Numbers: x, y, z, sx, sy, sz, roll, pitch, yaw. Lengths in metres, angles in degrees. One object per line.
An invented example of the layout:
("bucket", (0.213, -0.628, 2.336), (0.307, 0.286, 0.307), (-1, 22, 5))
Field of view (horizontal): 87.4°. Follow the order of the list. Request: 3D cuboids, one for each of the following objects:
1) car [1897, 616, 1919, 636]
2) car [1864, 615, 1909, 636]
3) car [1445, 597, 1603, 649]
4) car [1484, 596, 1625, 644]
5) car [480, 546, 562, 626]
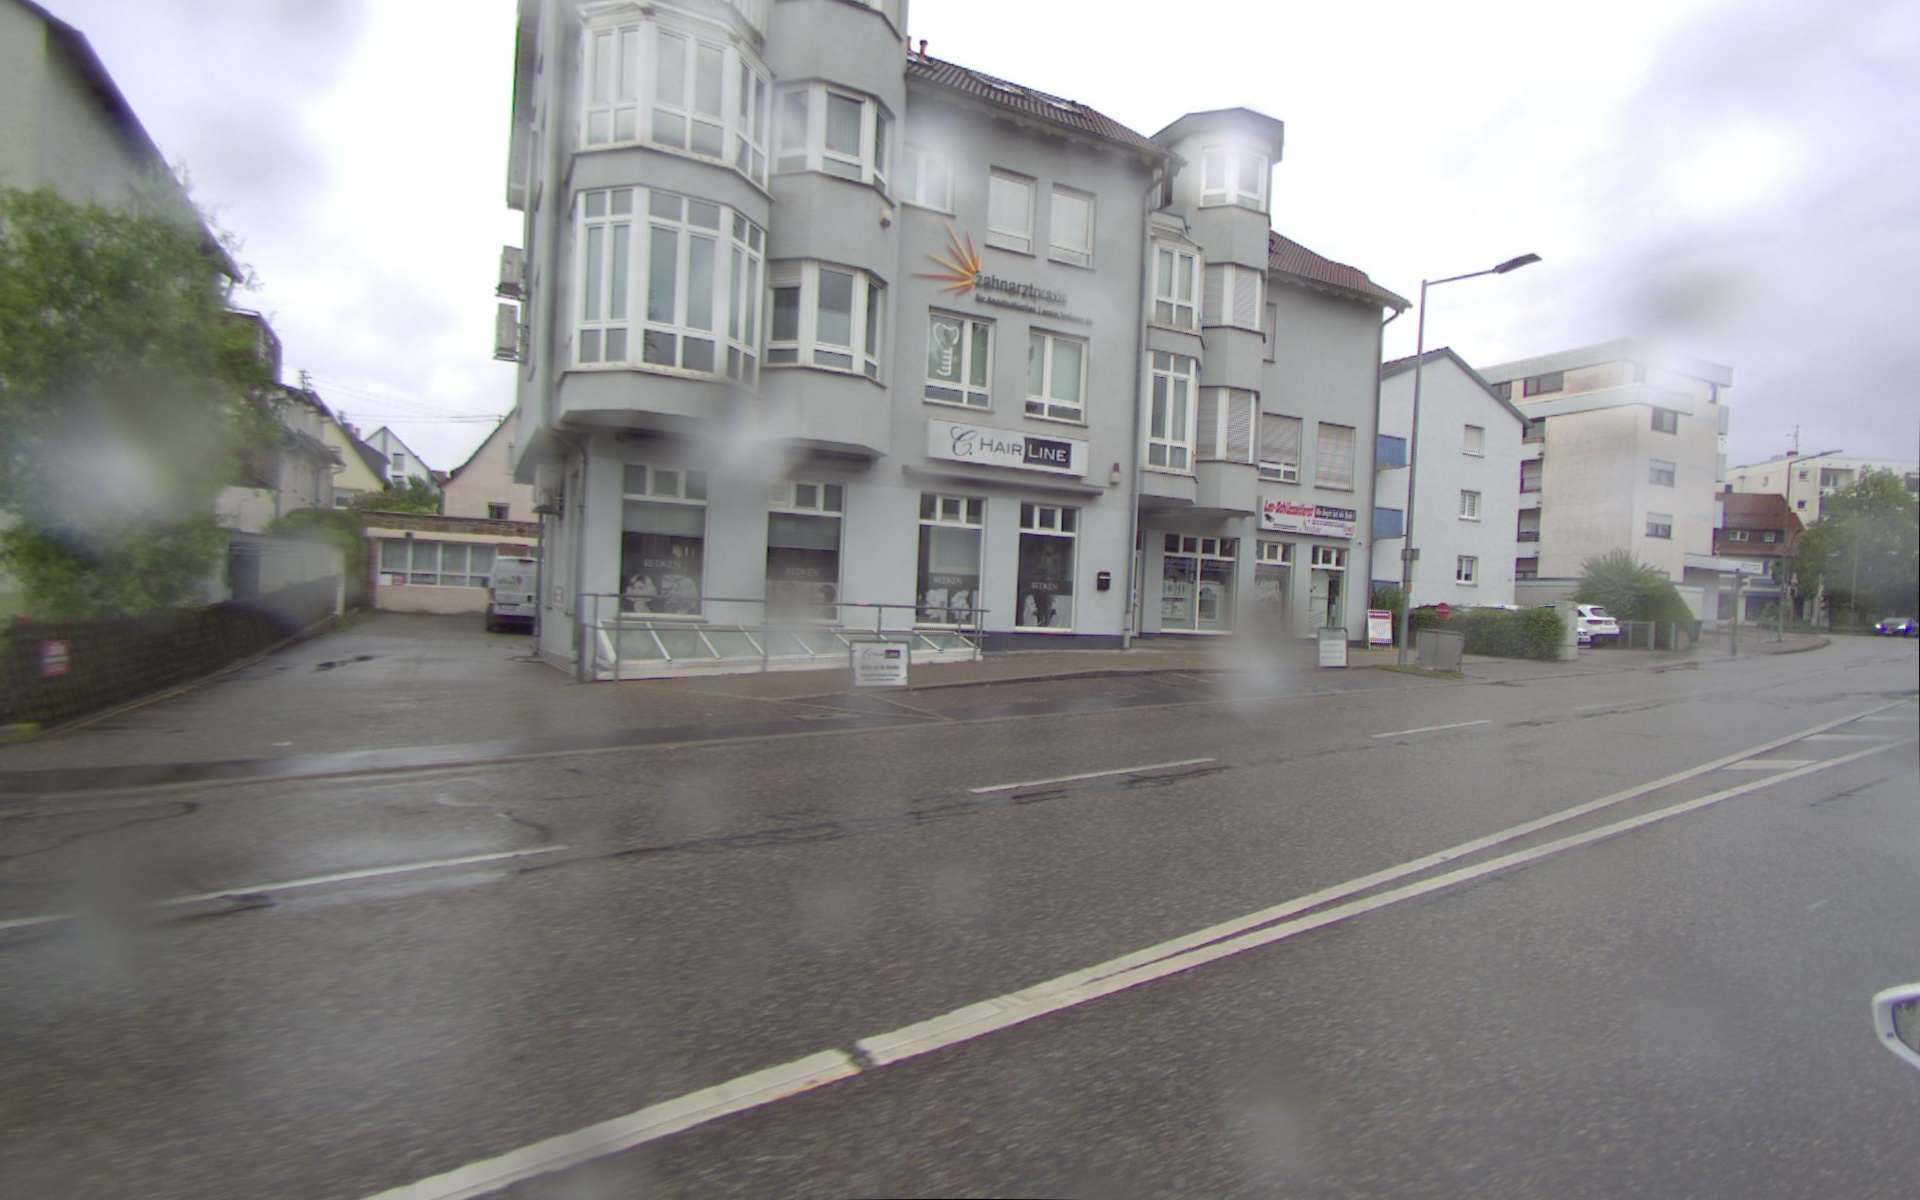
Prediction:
("car", (73.564, 2.012, 77.180), (3.984, 1.405, 1.702), (1, 2, -38))
("car", (67.670, 1.860, 73.333), (3.796, 1.439, 1.765), (1, 2, -38))
("car", (18.669, 0.722, 33.434), (1.883, 1.493, 4.197), (1, 1, -31))
("car", (23.368, 0.746, 39.647), (1.914, 1.659, 4.434), (1, 1, -27))
("car", (-15.322, -0.456, 35.009), (2.403, 2.549, 5.442), (1, 0, -25))
